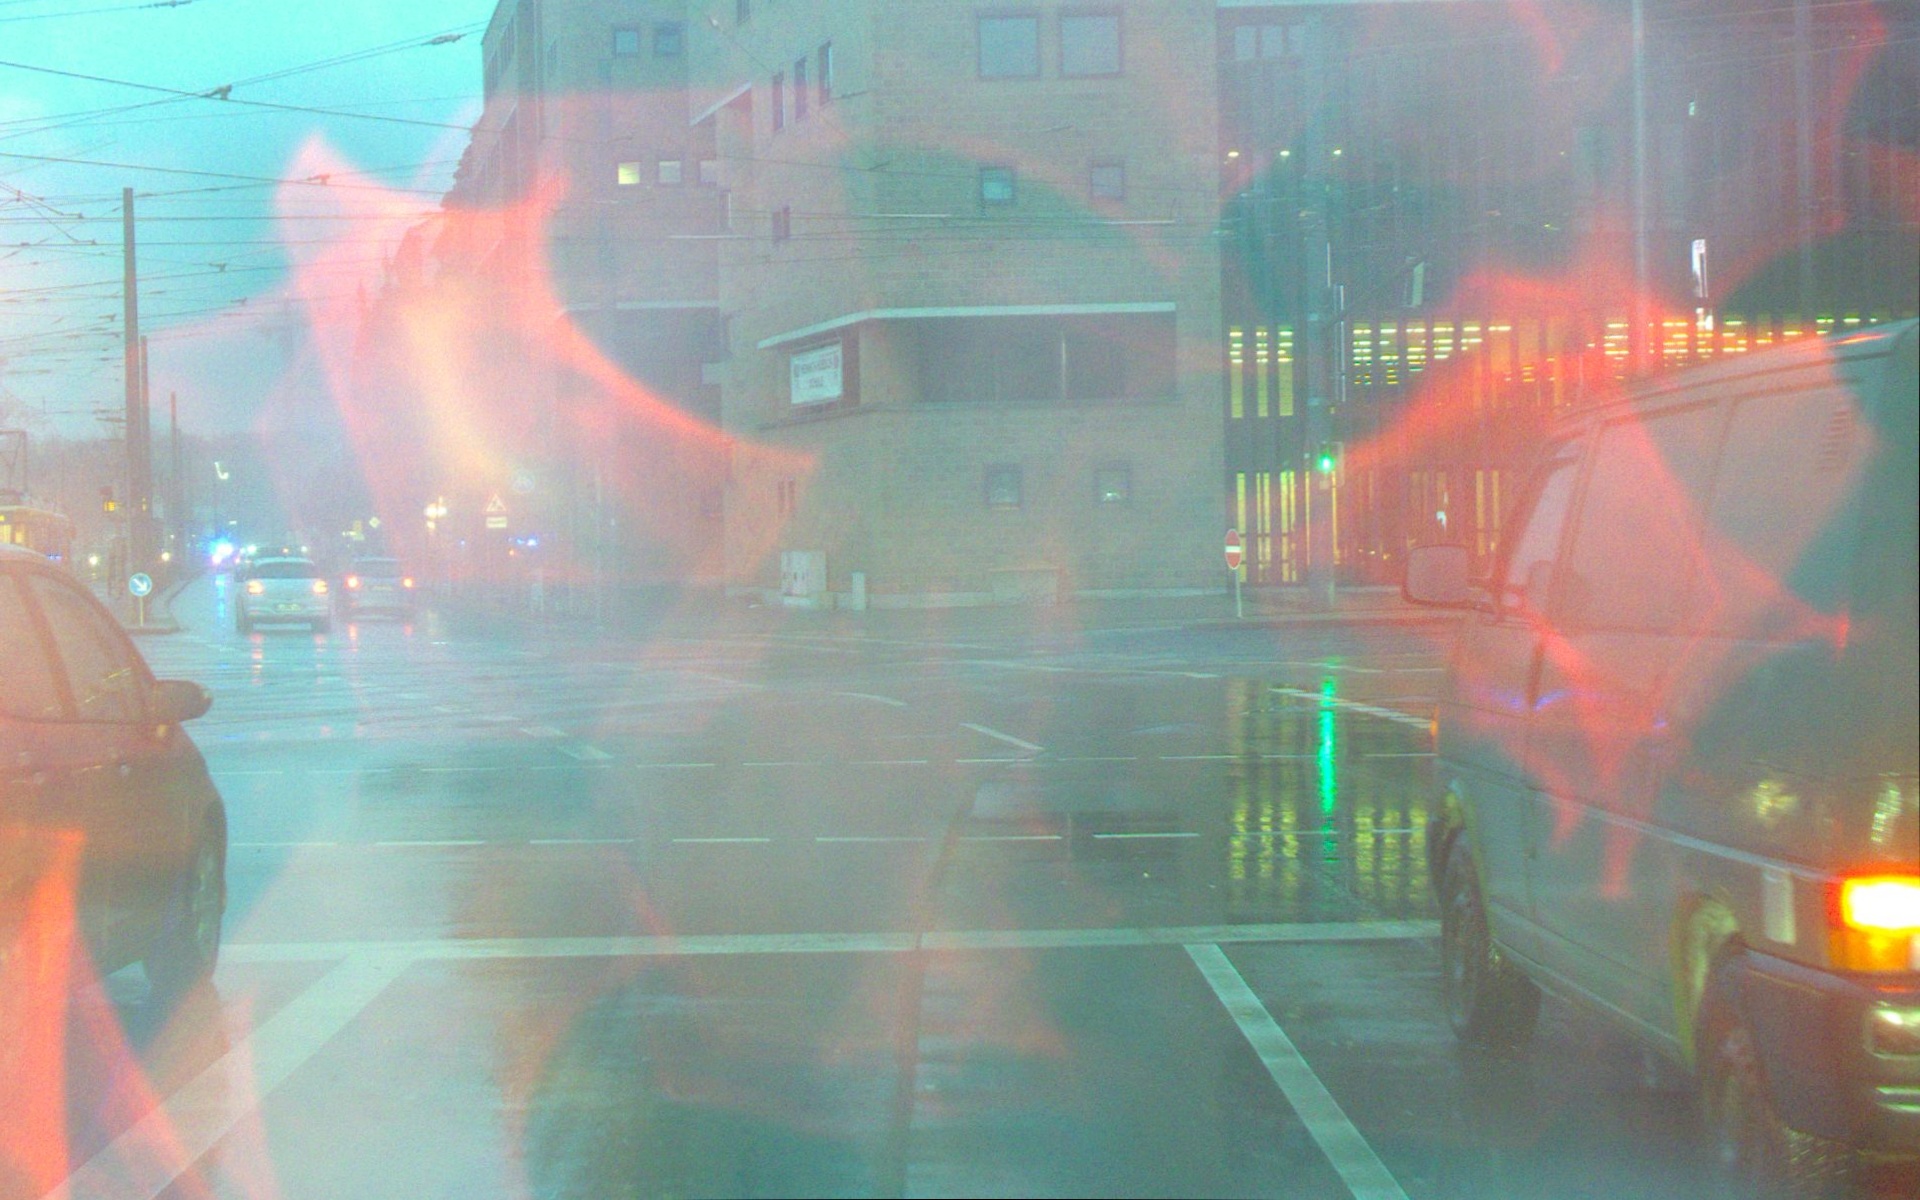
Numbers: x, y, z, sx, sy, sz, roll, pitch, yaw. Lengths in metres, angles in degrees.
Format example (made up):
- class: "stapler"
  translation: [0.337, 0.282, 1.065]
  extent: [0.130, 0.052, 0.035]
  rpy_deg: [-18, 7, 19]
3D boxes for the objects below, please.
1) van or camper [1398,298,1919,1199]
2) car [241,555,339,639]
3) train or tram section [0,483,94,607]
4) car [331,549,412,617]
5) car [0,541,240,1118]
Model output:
- class: "van or camper"
  translation: [2.295, 0.371, 8.347]
  extent: [1.756, 1.900, 4.419]
  rpy_deg: [0, 1, -2]
- class: "car"
  translation: [-13.587, -0.087, 69.674]
  extent: [1.870, 1.573, 4.001]
  rpy_deg: [1, 1, -11]
- class: "train or tram section"
  translation: [-29.758, -1.695, 108.668]
  extent: [3.190, 3.424, 27.839]
  rpy_deg: [-1, 1, -11]
- class: "car"
  translation: [-14.433, -0.437, 84.381]
  extent: [1.870, 1.573, 4.001]
  rpy_deg: [1, 1, -10]
- class: "car"
  translation: [-3.314, 0.574, 9.992]
  extent: [1.697, 1.454, 3.758]
  rpy_deg: [-1, 1, -1]
